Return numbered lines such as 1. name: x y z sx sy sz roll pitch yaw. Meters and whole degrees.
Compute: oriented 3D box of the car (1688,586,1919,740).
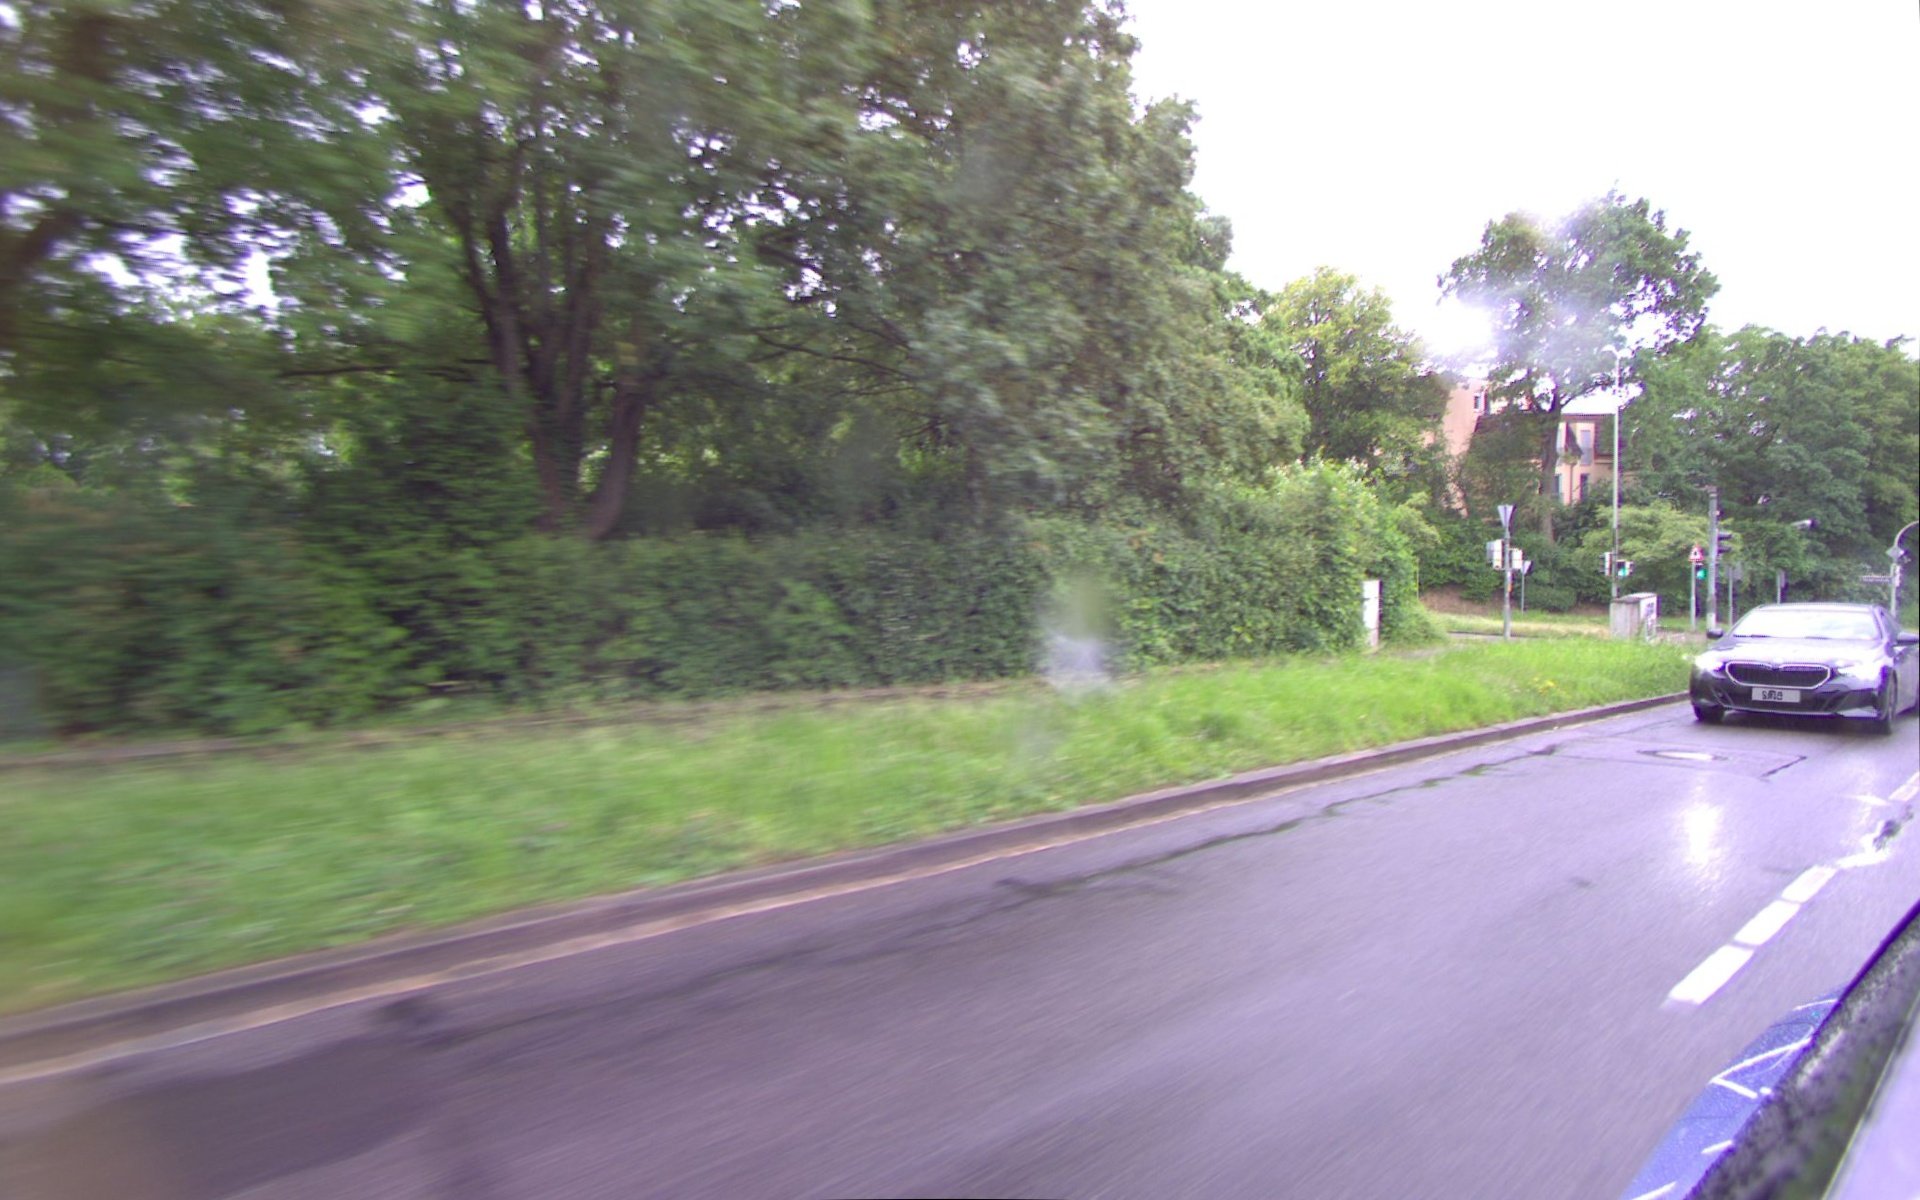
1. car: 10.996 0.656 12.828 4.046 1.574 1.867 0 3 -40
